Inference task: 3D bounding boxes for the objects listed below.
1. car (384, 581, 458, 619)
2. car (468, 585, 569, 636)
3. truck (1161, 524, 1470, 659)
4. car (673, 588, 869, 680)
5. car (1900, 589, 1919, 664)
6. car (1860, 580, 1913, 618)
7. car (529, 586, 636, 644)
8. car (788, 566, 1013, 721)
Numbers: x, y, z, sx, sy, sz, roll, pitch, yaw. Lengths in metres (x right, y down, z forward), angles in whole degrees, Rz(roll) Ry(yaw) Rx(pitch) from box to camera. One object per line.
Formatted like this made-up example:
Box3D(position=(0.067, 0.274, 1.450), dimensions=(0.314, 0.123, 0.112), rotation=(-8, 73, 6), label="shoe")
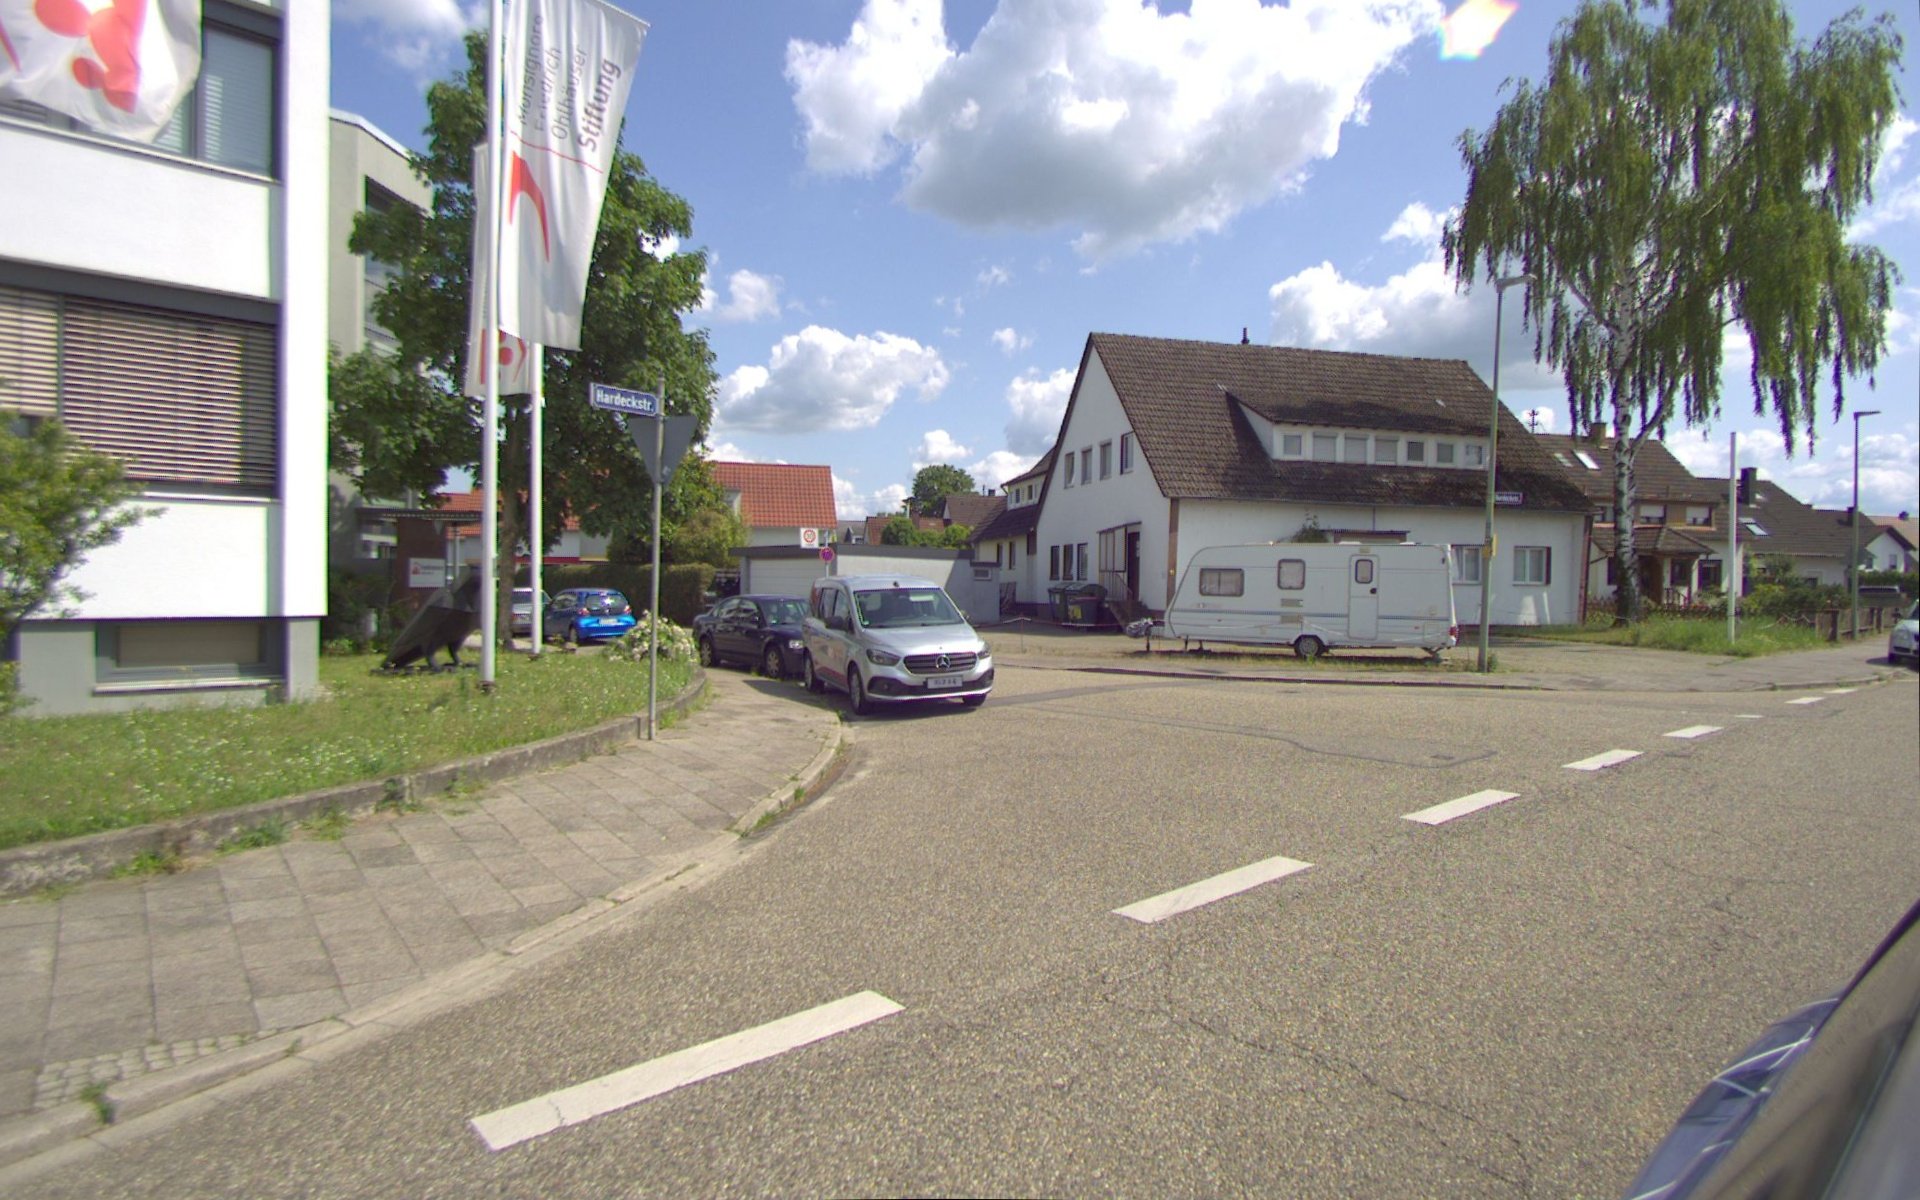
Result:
Box3D(position=(-21.035, -0.037, 39.419), dimensions=(1.589, 1.416, 4.247), rotation=(0, 1, -41), label="car")
Box3D(position=(-13.480, 0.264, 30.760), dimensions=(1.589, 1.416, 4.247), rotation=(0, 1, -41), label="car")
Box3D(position=(7.625, -0.210, 21.976), dimensions=(5.994, 2.610, 2.545), rotation=(1, 0, 24), label="truck")
Box3D(position=(-3.703, 0.536, 19.170), dimensions=(1.727, 1.445, 4.625), rotation=(-2, 2, -38), label="car")
Box3D(position=(22.353, 0.547, 22.482), dimensions=(3.928, 1.601, 1.614), rotation=(0, 0, -39), label="car")
Box3D(position=(48.628, -0.061, 53.065), dimensions=(1.857, 1.889, 4.940), rotation=(1, 1, 45), label="car")
Box3D(position=(-10.123, 0.356, 27.012), dimensions=(1.589, 1.416, 3.359), rotation=(0, 1, -42), label="car")
Box3D(position=(-1.033, 0.449, 14.334), dimensions=(1.826, 1.774, 4.419), rotation=(-2, 2, -22), label="car")
